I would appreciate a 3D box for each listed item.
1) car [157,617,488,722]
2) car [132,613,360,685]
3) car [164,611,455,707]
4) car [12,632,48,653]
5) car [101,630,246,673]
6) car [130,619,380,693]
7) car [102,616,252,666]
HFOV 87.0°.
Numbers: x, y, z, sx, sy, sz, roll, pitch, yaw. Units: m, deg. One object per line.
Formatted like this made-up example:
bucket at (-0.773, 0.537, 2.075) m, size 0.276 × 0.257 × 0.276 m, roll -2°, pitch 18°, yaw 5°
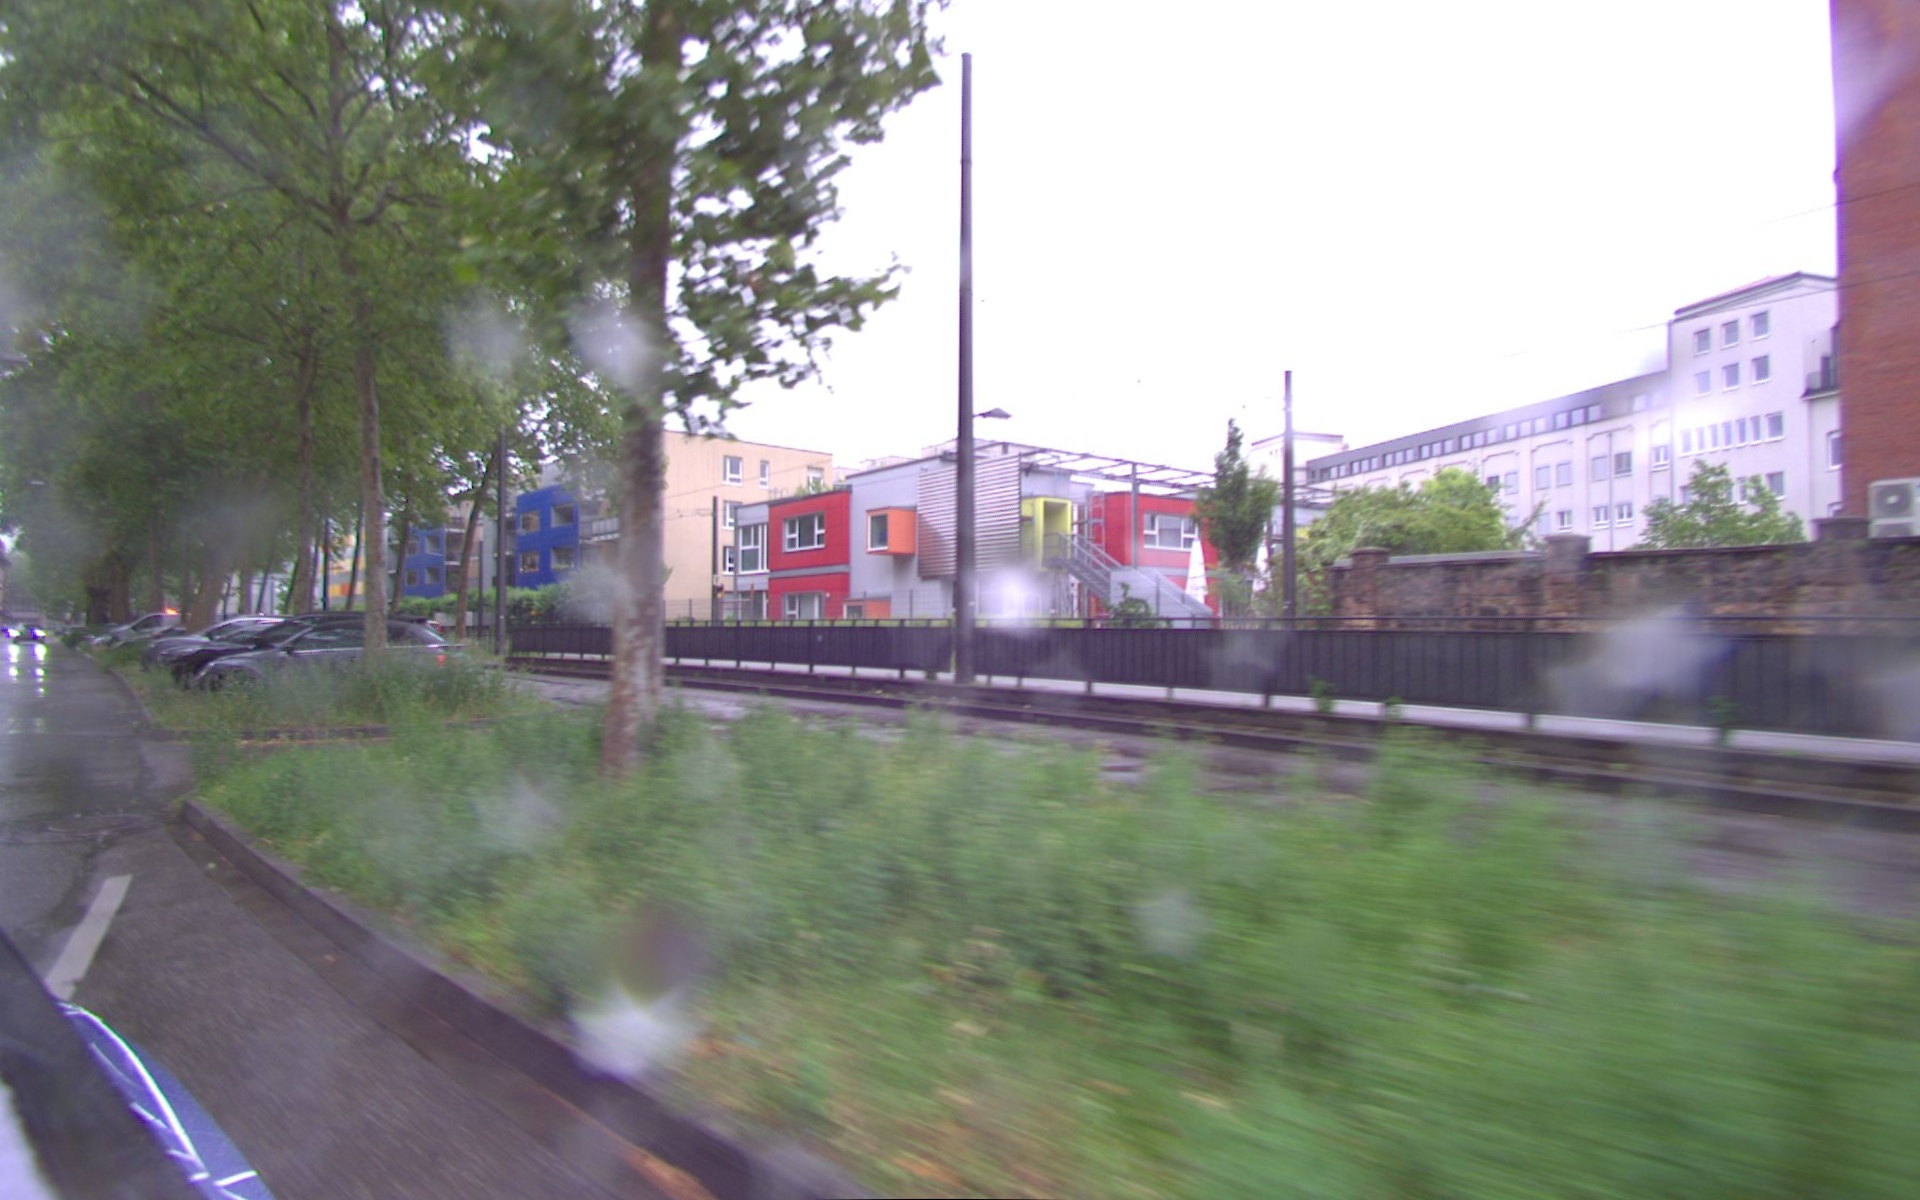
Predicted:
car at (-10.308, 1.143, 16.728) m, size 4.161 × 1.553 × 1.935 m, roll 2°, pitch -3°, yaw -12°
car at (-17.648, 1.234, 25.262) m, size 4.260 × 1.625 × 1.753 m, roll 2°, pitch -3°, yaw -16°
car at (-11.958, 1.095, 18.890) m, size 4.161 × 1.622 × 1.752 m, roll 2°, pitch -3°, yaw -12°
car at (-71.570, 3.241, 77.931) m, size 1.823 × 1.608 × 4.223 m, roll 2°, pitch -3°, yaw -40°
car at (-29.649, 1.954, 38.292) m, size 3.931 × 1.497 × 1.665 m, roll 2°, pitch -3°, yaw -20°
car at (-15.838, 1.276, 22.952) m, size 4.263 × 1.519 × 1.752 m, roll 2°, pitch -3°, yaw -10°
car at (-34.505, 1.810, 44.739) m, size 4.812 × 2.029 × 2.005 m, roll 2°, pitch -3°, yaw -12°
